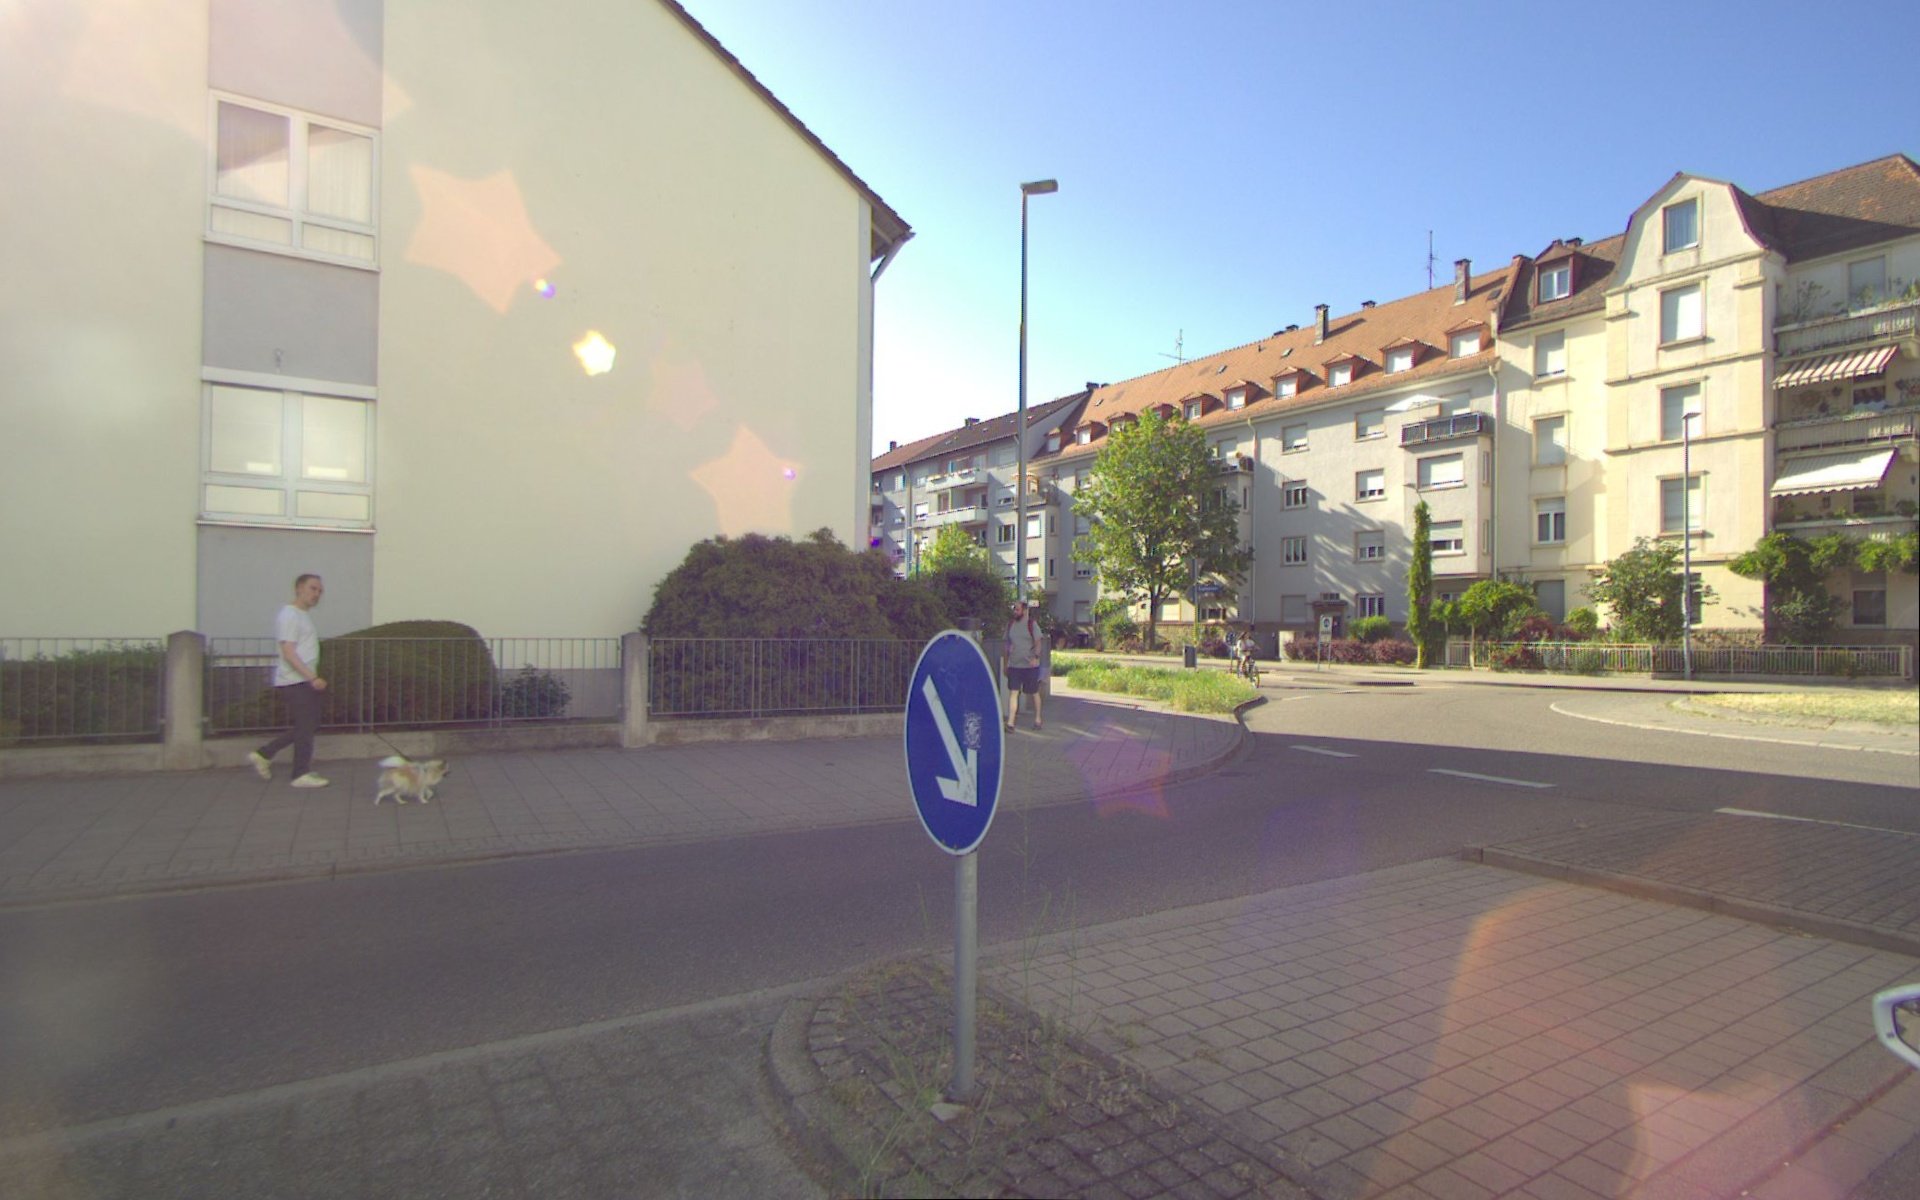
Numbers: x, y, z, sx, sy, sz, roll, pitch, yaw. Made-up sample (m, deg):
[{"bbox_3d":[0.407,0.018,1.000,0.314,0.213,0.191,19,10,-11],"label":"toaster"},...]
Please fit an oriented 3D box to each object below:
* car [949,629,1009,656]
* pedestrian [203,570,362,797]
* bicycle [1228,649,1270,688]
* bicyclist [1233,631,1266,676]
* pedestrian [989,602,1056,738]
[{"bbox_3d":[1.095,2.512,60.593,1.830,1.559,3.967,1,-2,-31],"label":"car"},{"bbox_3d":[-5.474,0.647,8.180,0.985,1.728,0.687,1,0,-30],"label":"pedestrian"},{"bbox_3d":[8.795,2.065,30.614,0.795,1.028,2.211,1,-1,5],"label":"bicycle"},{"bbox_3d":[8.810,1.627,30.600,0.795,1.329,0.826,1,0,5],"label":"bicyclist"},{"bbox_3d":[0.813,0.901,13.378,0.803,1.728,0.997,1,0,0],"label":"pedestrian"}]
